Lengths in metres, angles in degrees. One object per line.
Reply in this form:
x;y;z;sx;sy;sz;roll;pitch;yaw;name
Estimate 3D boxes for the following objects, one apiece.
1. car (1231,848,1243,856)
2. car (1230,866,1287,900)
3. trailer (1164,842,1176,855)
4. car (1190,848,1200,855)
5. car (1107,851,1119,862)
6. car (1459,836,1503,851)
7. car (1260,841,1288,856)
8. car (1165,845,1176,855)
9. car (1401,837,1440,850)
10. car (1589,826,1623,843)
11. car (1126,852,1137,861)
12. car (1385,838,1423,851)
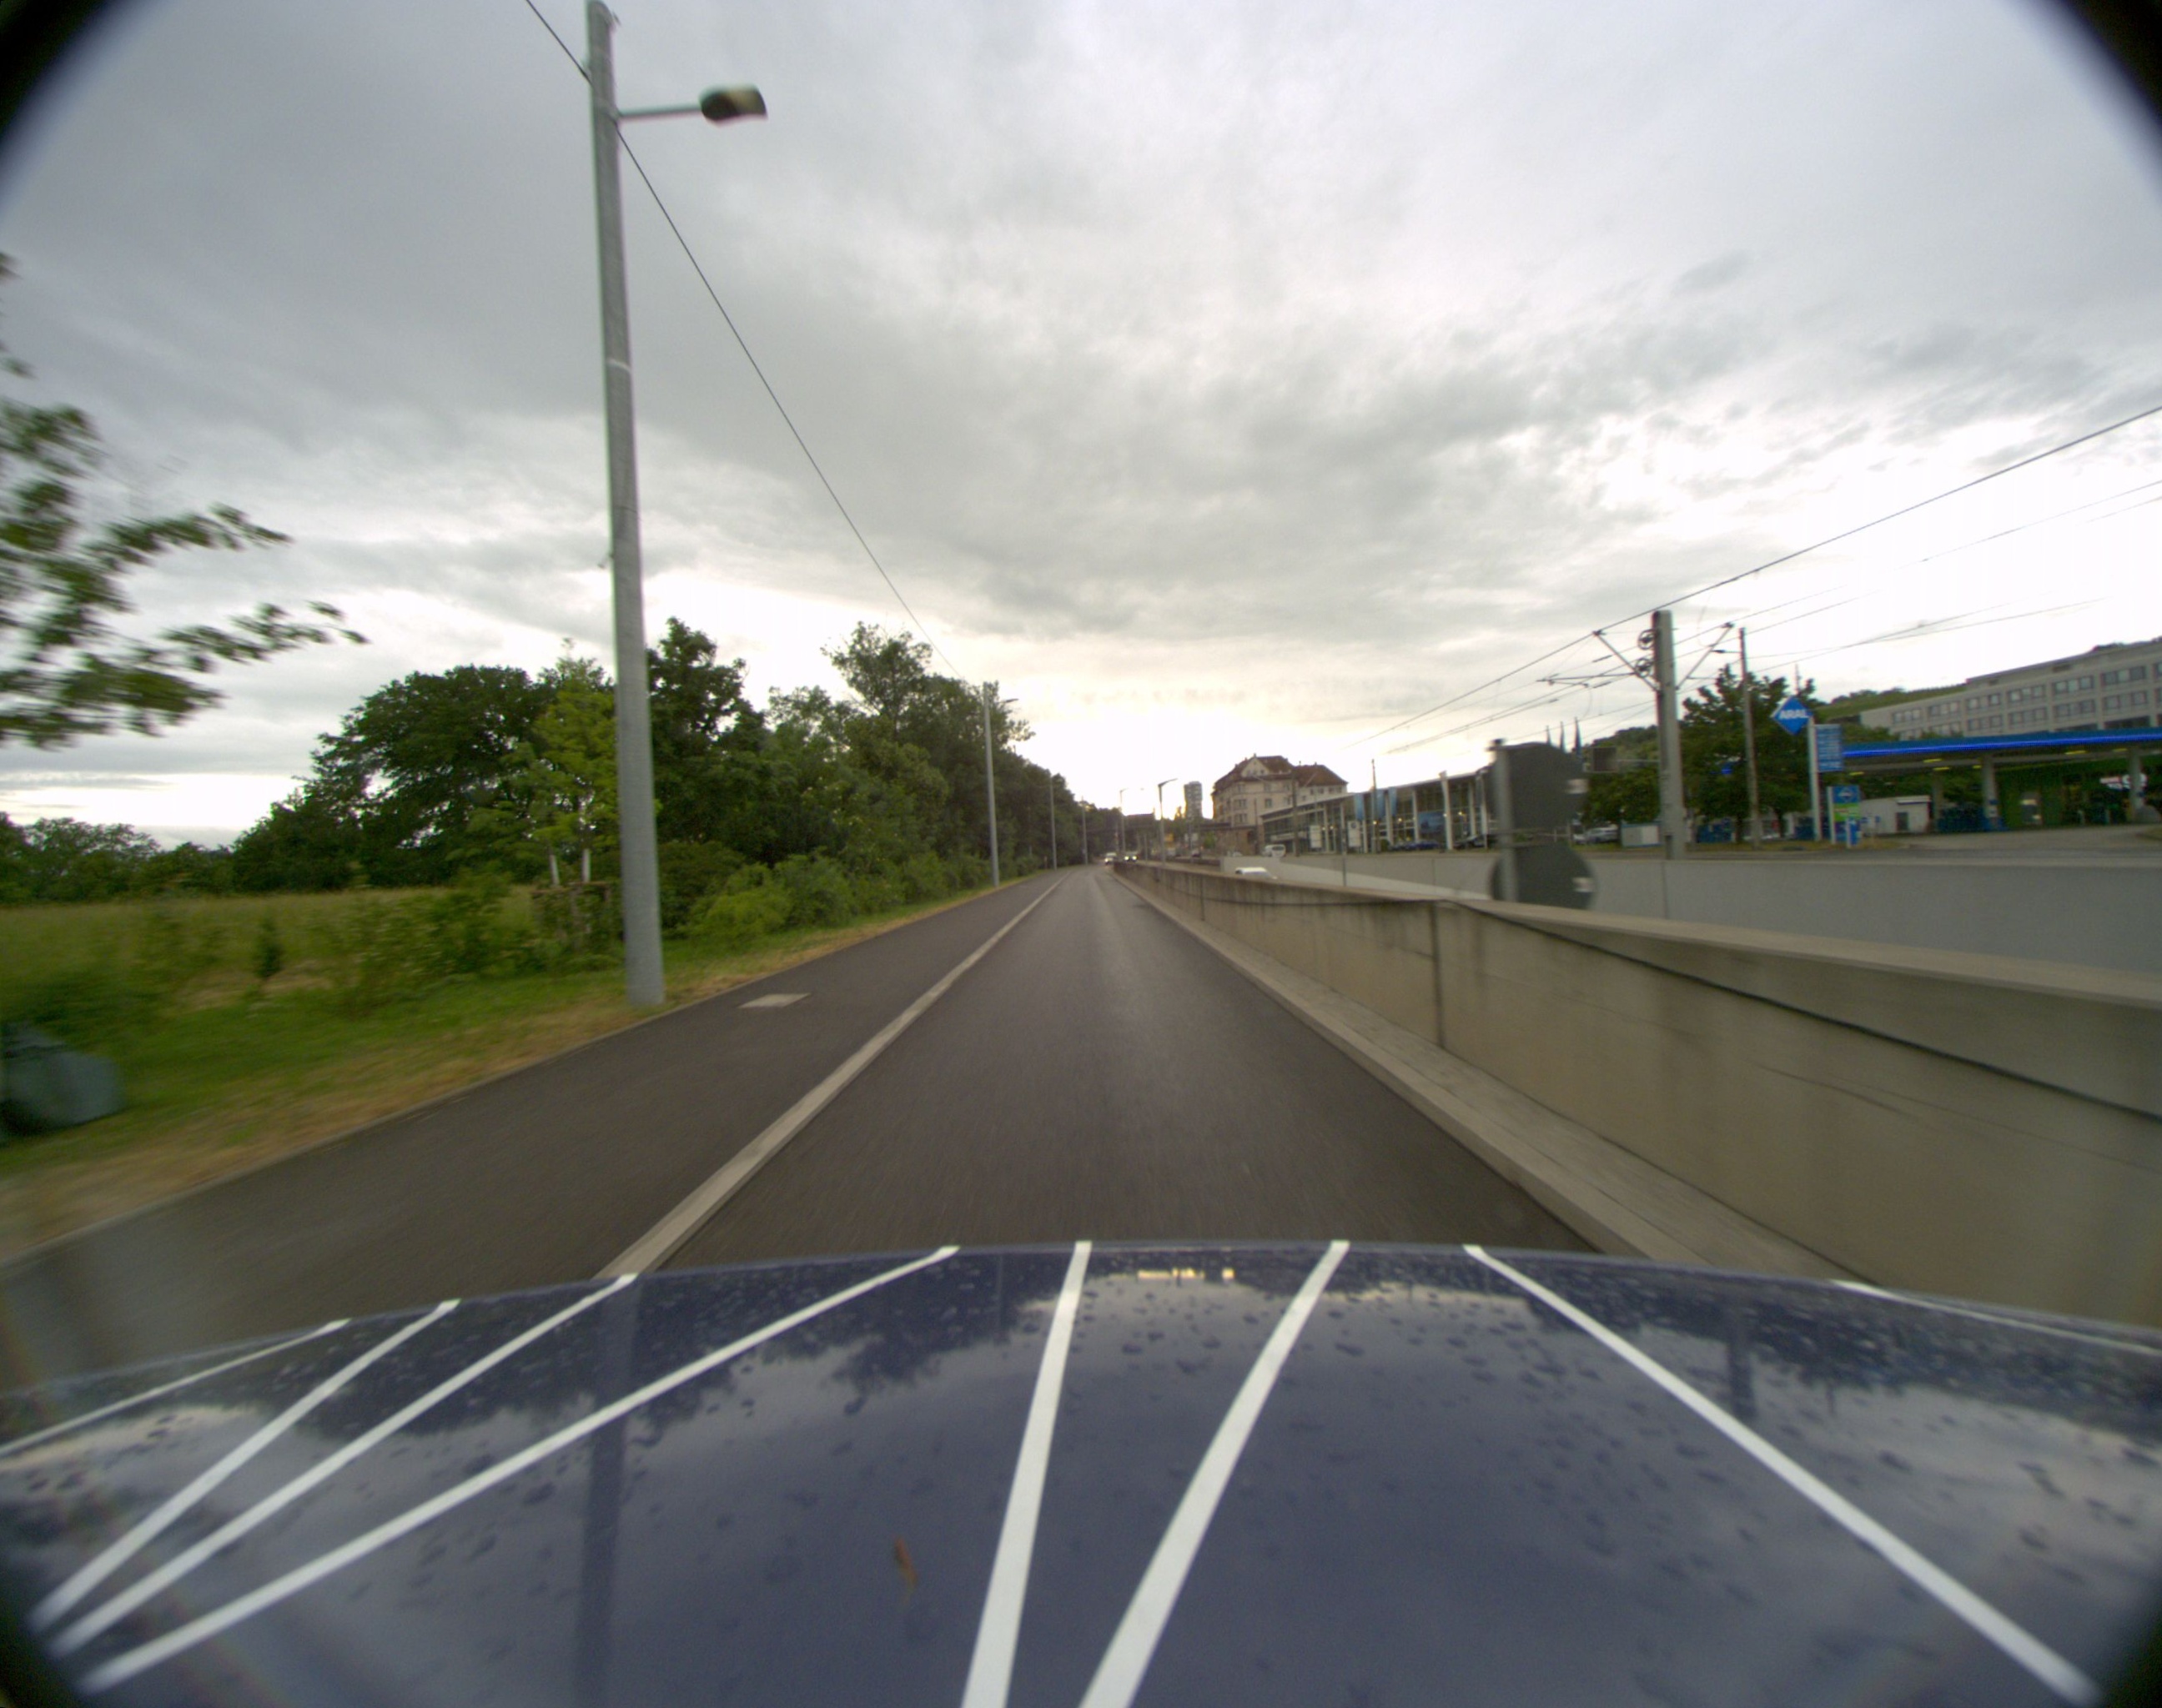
27.481;-0.403;134.040;1.385;1.292;2.801;-3;0;-1;car
9.227;1.466;39.766;1.982;1.564;4.319;-2;0;1;car
29.224;-1.811;249.199;2.690;4.028;9.082;-2;0;0;trailer
26.558;-0.509;177.019;1.746;1.507;4.340;-2;0;1;car
4.887;0.314;117.237;1.710;1.585;4.000;-3;0;1;car
40.135;-1.032;76.261;3.523;1.267;1.717;-3;0;5;car
23.451;-0.630;92.347;2.005;1.685;5.034;-3;0;0;car
23.563;-1.044;200.771;2.056;2.583;6.164;-3;0;0;car
39.445;-1.218;88.170;4.003;1.228;1.757;-3;1;-20;car
52.198;-1.941;75.597;1.385;1.564;2.801;-3;0;-1;car
9.195;0.467;138.209;1.710;1.521;4.000;-3;0;1;car
38.456;-1.164;90.481;4.003;1.227;1.701;-3;-1;-20;car
